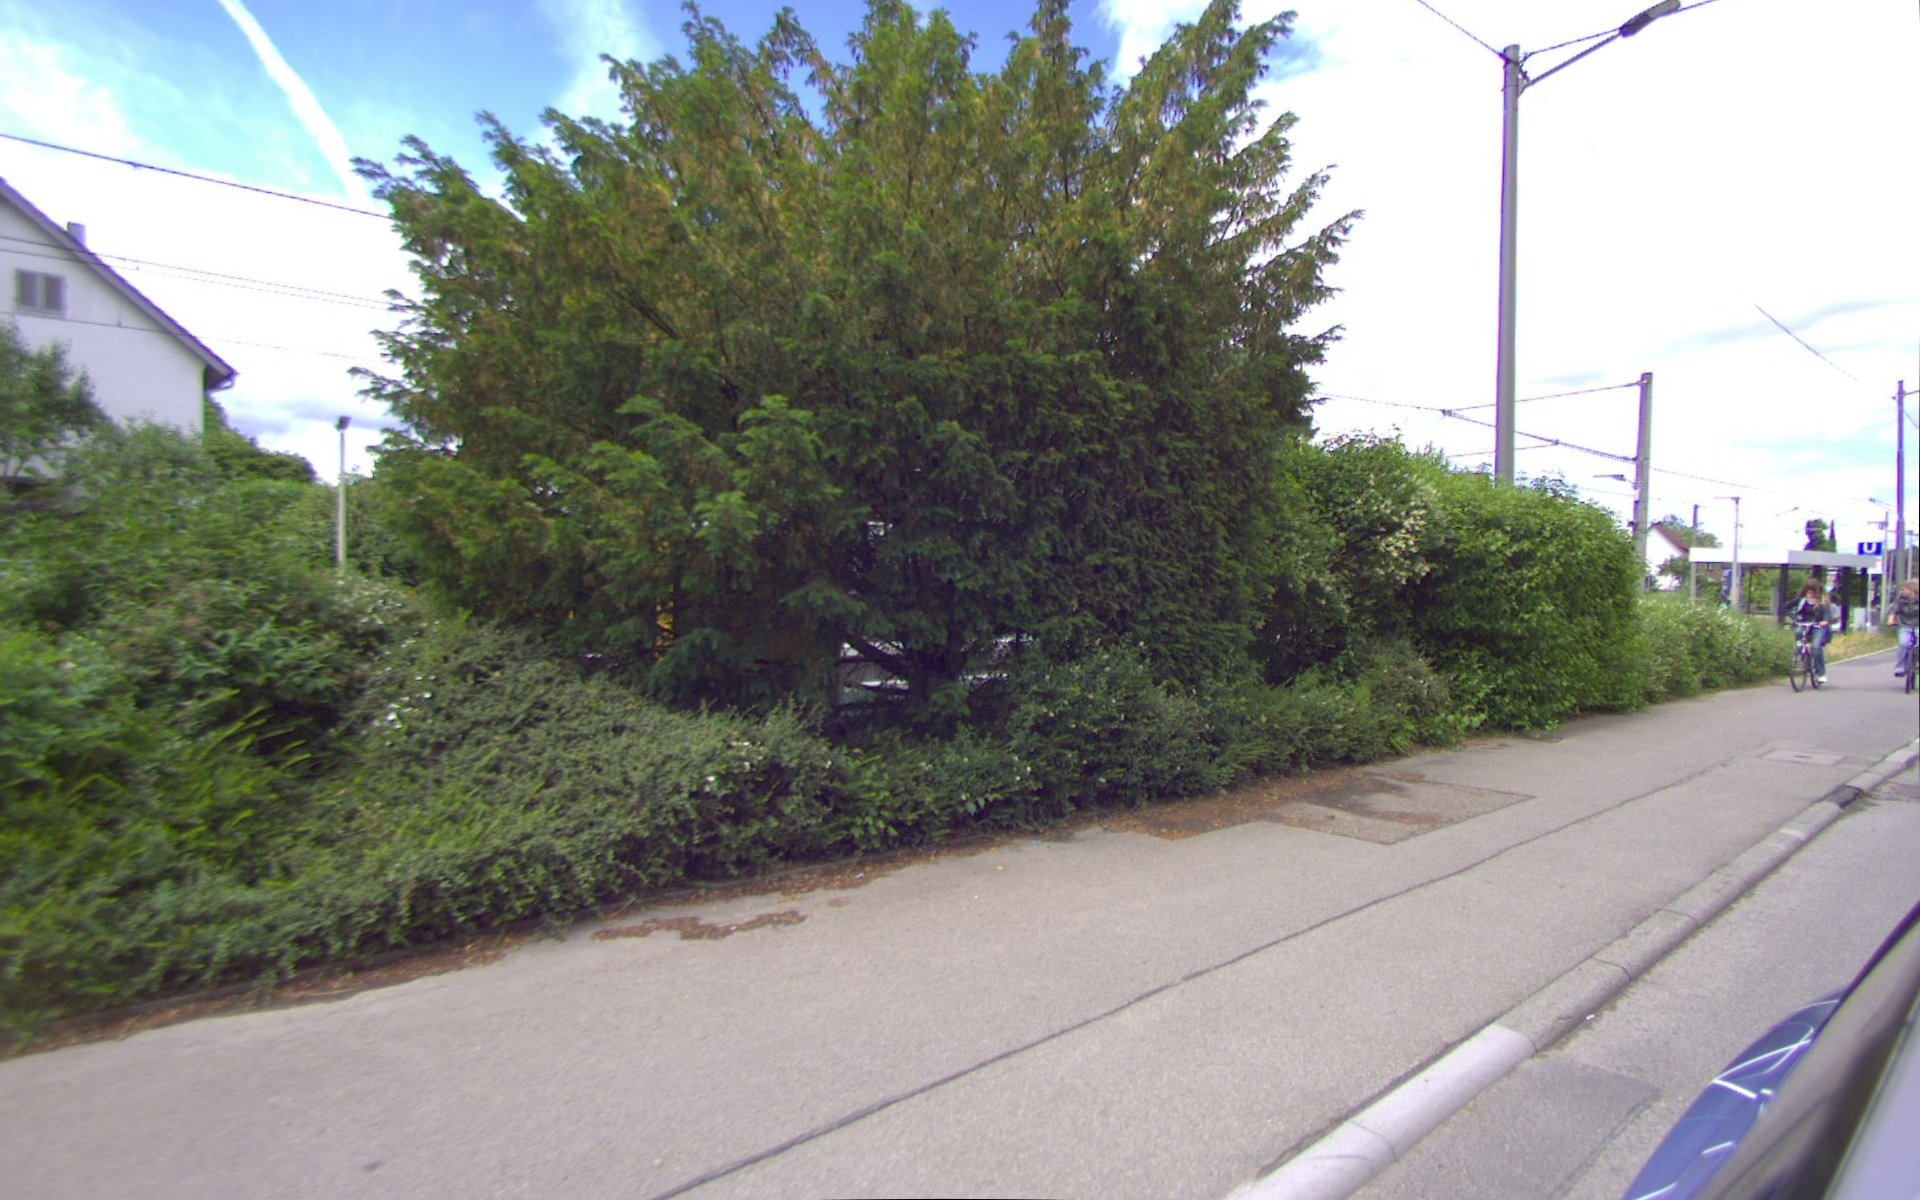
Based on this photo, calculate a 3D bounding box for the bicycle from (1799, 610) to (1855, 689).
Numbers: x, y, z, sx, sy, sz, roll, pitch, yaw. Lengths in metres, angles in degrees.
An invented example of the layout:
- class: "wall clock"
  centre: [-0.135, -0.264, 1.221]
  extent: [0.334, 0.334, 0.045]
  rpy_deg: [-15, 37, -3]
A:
- class: "bicycle"
  centre: [14.151, 0.779, 16.496]
  extent: [2.171, 1.164, 0.450]
  rpy_deg: [-1, 1, -43]

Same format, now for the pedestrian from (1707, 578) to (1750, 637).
- class: "pedestrian"
  centre: [21.615, 0.209, 28.472]
  extent: [0.718, 1.638, 0.703]
  rpy_deg: [0, 0, 15]

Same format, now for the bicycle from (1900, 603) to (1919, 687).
- class: "bicycle"
  centre: [15.746, 0.705, 16.619]
  extent: [0.450, 1.302, 2.173]
  rpy_deg: [0, 0, 43]

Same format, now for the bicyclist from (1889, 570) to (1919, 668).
- class: "bicyclist"
  centre: [15.611, 0.301, 16.371]
  extent: [0.848, 1.558, 0.825]
  rpy_deg: [0, 0, -44]

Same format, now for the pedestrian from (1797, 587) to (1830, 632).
- class: "pedestrian"
  centre: [28.019, 0.301, 33.216]
  extent: [0.631, 1.438, 0.720]
  rpy_deg: [0, 0, -38]

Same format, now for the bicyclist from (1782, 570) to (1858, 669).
- class: "bicyclist"
  centre: [14.017, 0.298, 16.498]
  extent: [0.847, 1.557, 0.825]
  rpy_deg: [0, 1, -43]

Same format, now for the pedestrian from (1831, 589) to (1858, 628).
- class: "pedestrian"
  centre: [29.865, 0.270, 34.154]
  extent: [0.572, 1.295, 0.588]
  rpy_deg: [0, 0, -38]
